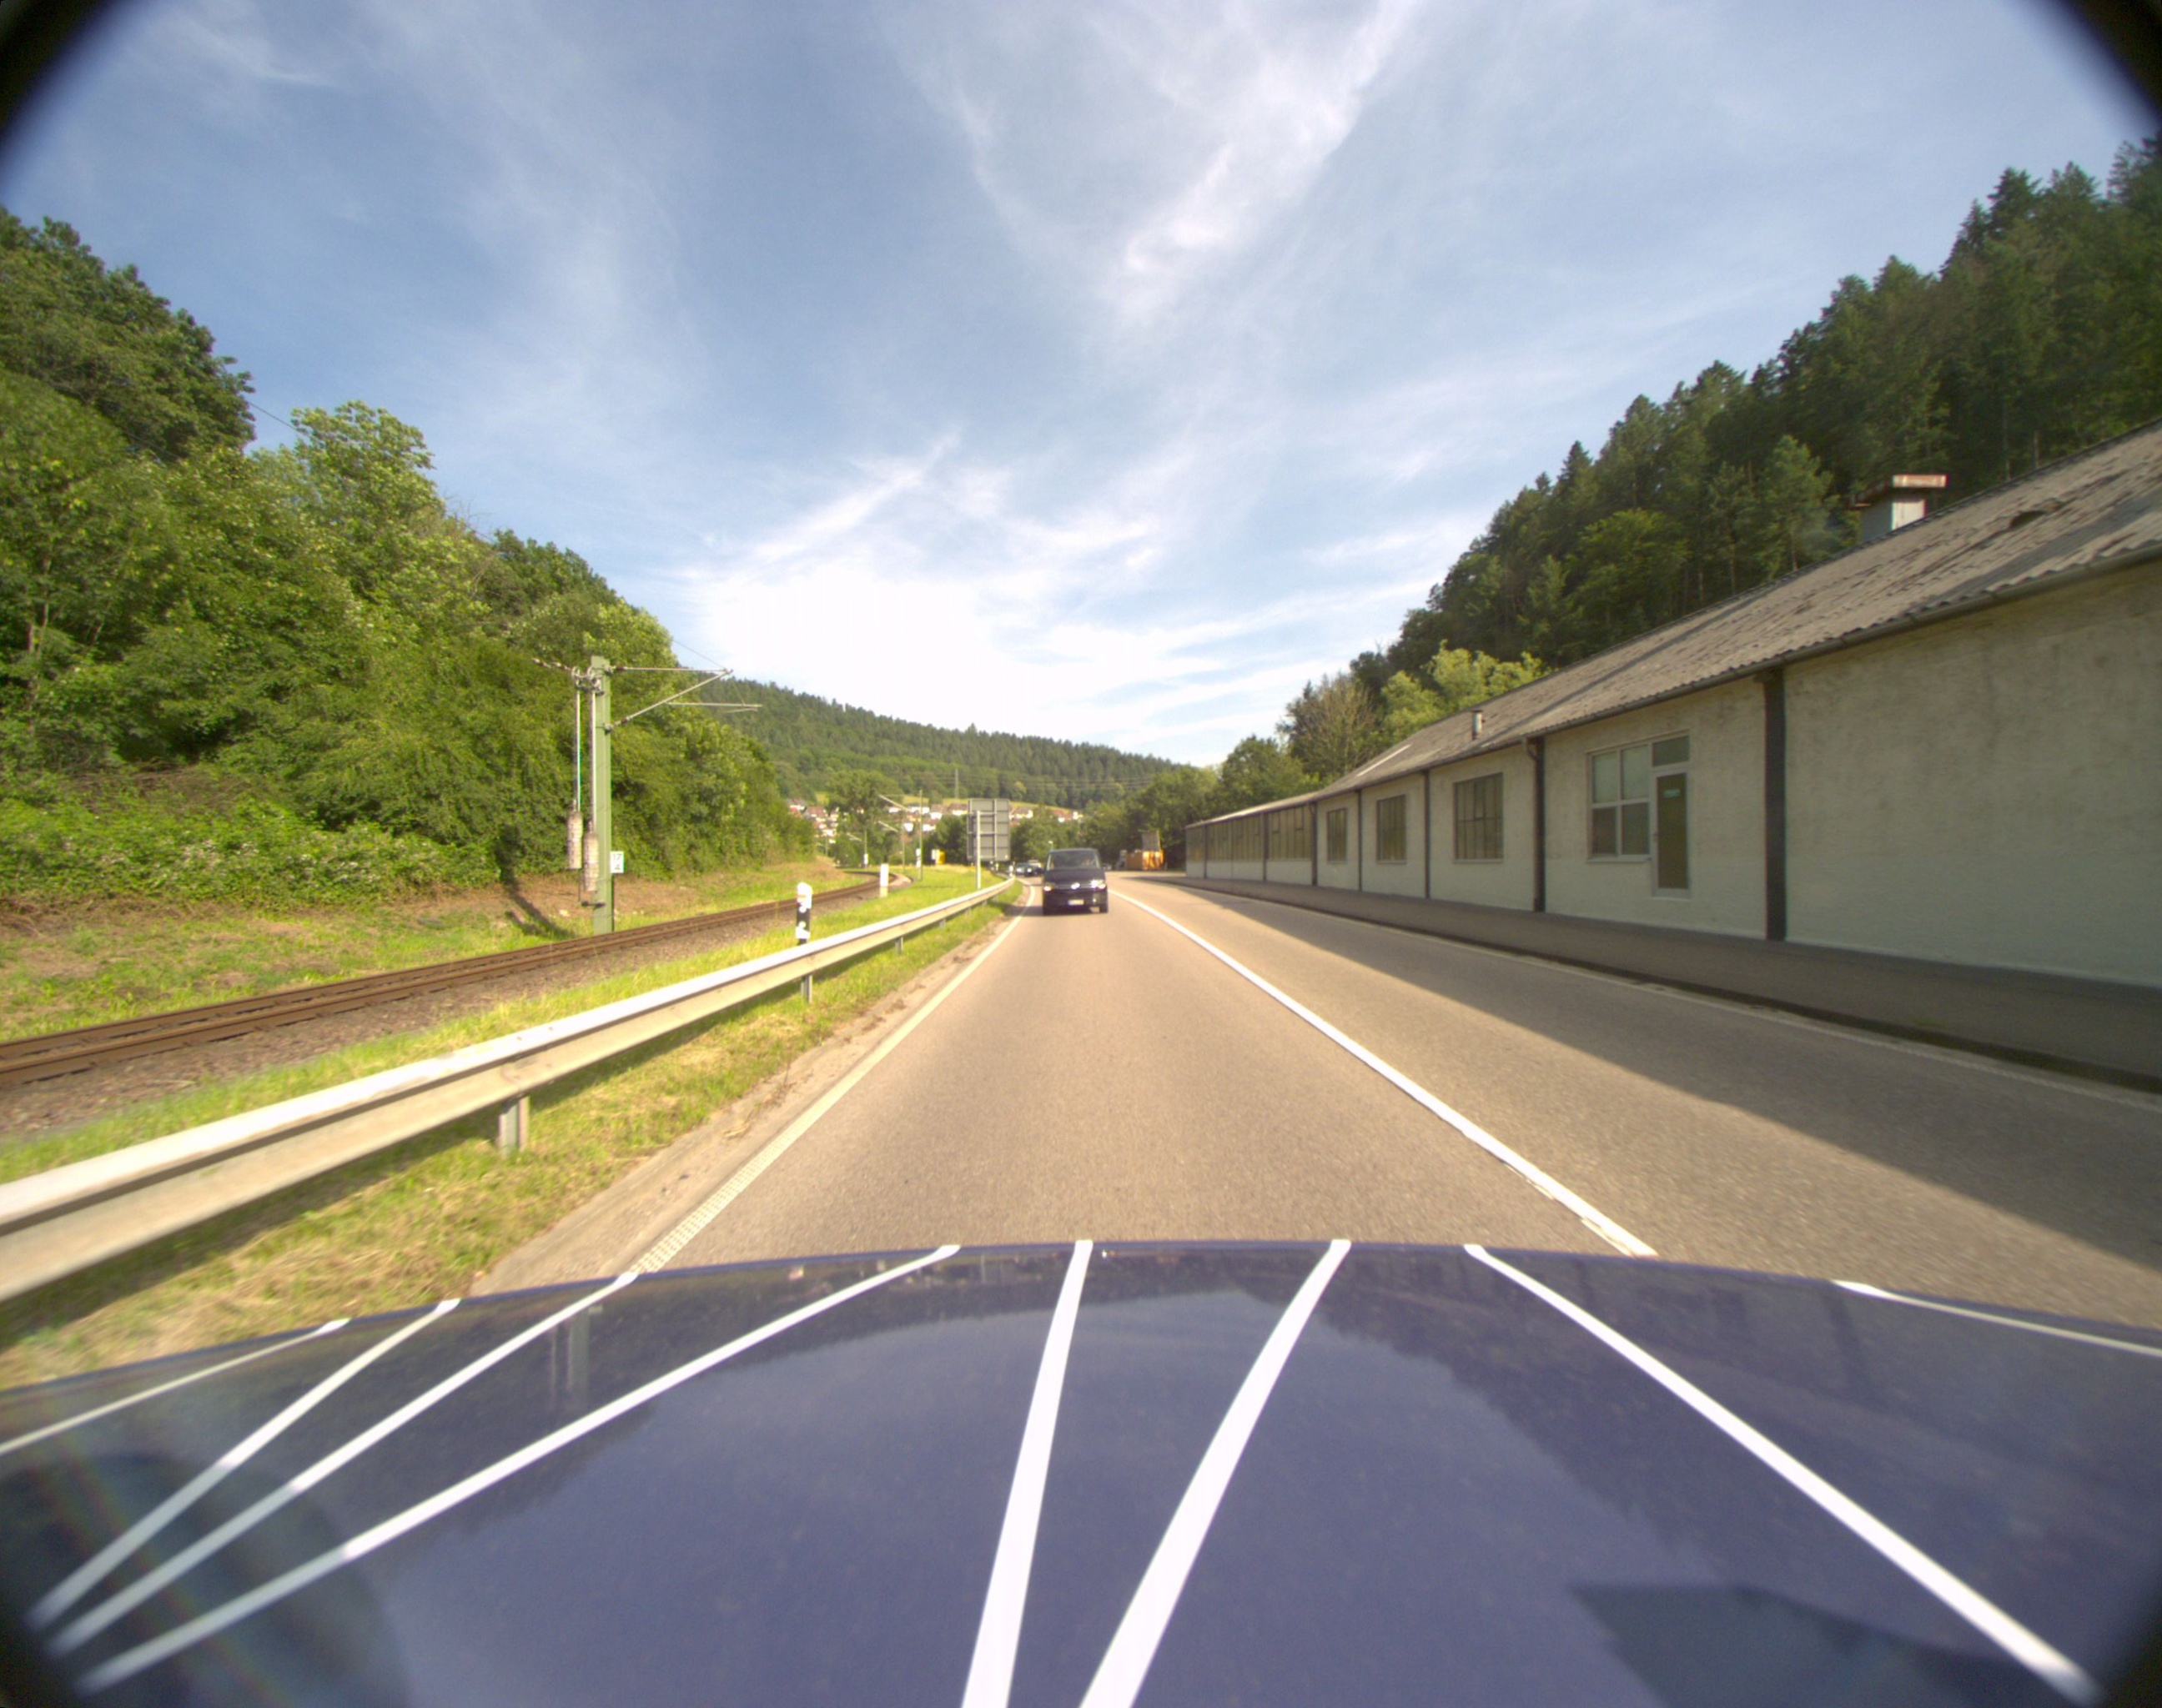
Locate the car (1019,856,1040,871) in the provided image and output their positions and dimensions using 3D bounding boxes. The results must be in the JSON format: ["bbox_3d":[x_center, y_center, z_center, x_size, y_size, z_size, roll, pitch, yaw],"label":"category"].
[{"bbox_3d":[-5.762,1.095,84.249,1.874,1.583,4.049,-1,-1,-10],"label":"car"}]

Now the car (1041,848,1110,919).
[{"bbox_3d":[-0.227,0.834,23.894,1.901,1.927,5.188,-2,0,-2],"label":"car"}]

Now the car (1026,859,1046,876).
[{"bbox_3d":[-5.936,1.725,99.662,2.000,2.002,3.996,-2,1,-11],"label":"car"}]

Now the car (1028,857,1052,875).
[{"bbox_3d":[-4.033,1.191,74.417,1.874,1.583,4.049,-1,-1,-10],"label":"car"}]

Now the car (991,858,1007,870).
[{"bbox_3d":[-11.230,1.368,103.677,1.874,1.583,4.049,-2,0,-10],"label":"car"}]
